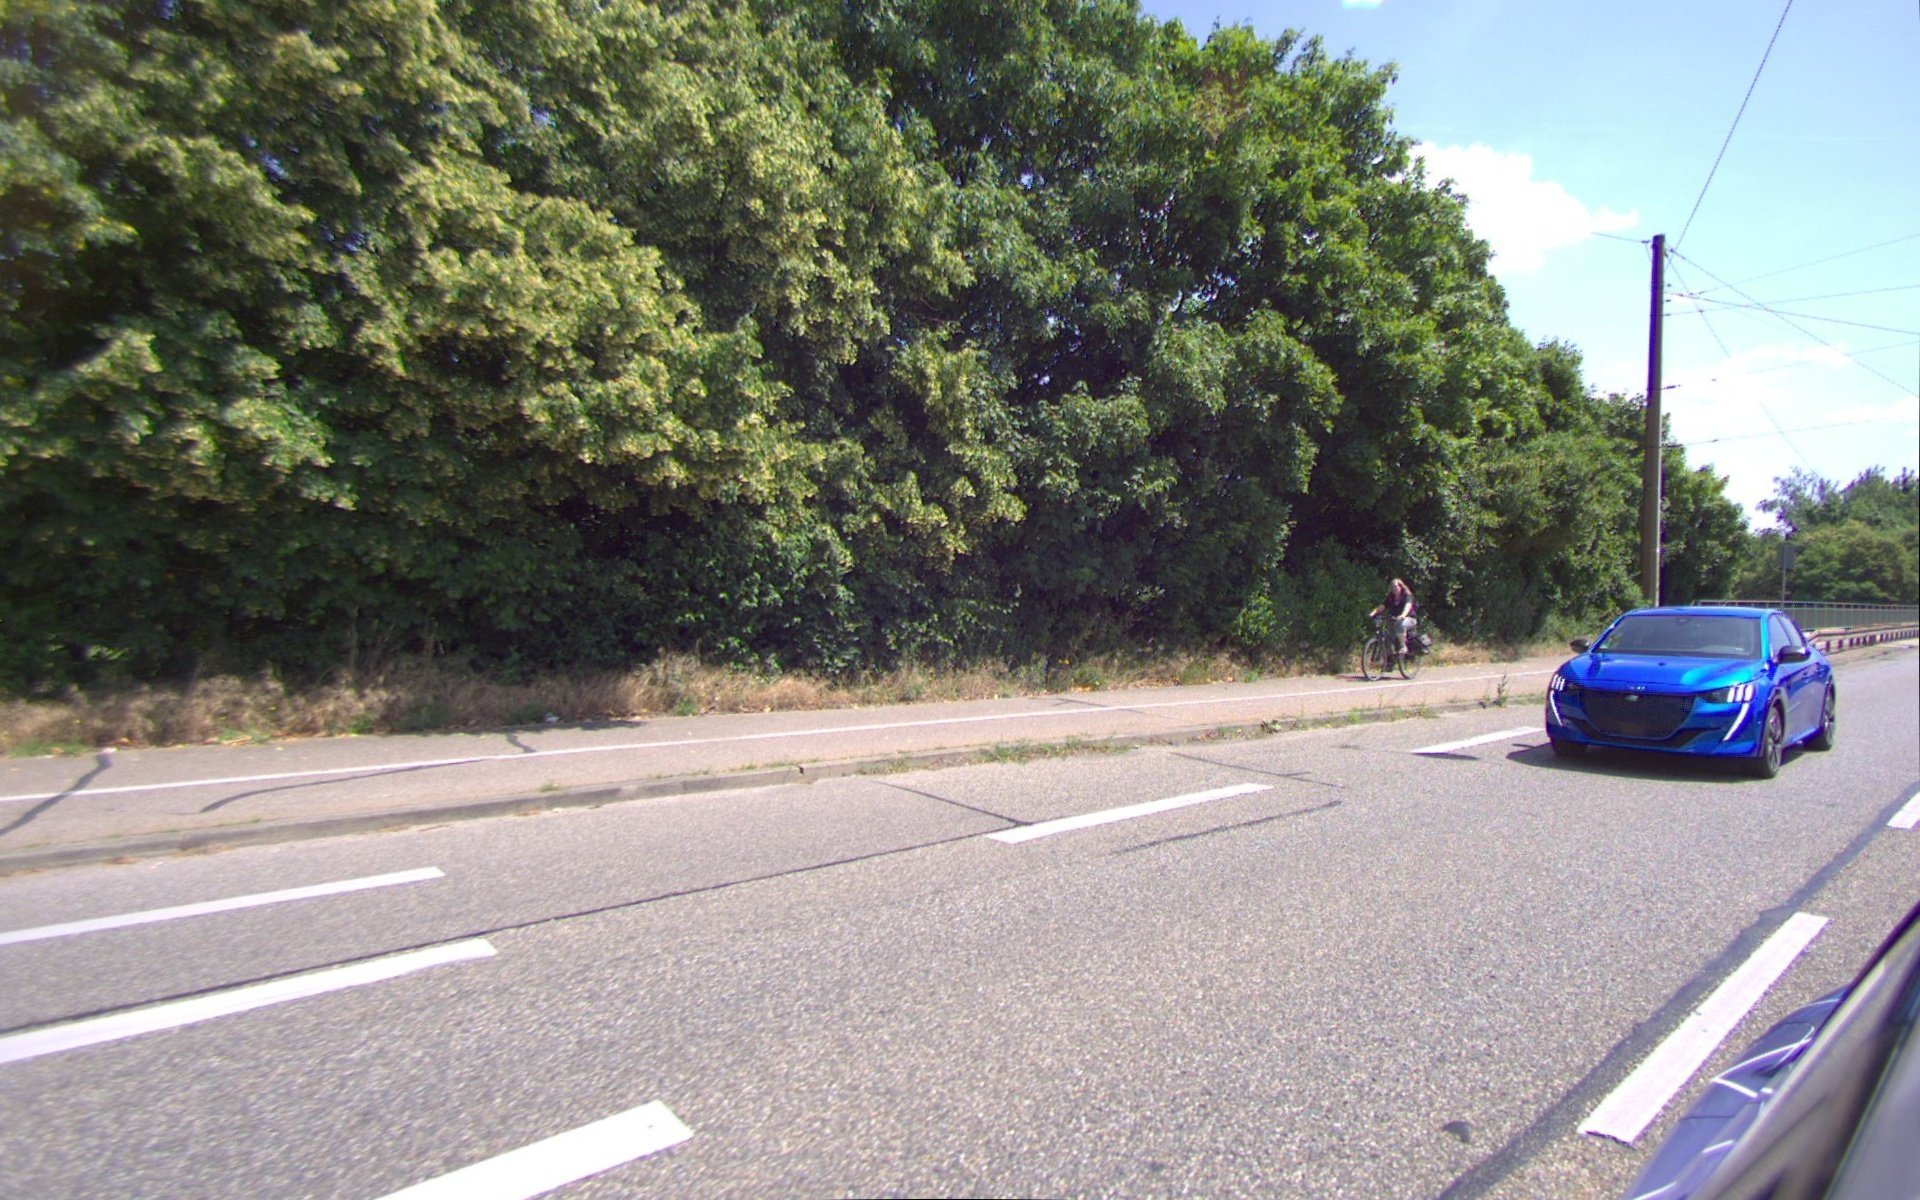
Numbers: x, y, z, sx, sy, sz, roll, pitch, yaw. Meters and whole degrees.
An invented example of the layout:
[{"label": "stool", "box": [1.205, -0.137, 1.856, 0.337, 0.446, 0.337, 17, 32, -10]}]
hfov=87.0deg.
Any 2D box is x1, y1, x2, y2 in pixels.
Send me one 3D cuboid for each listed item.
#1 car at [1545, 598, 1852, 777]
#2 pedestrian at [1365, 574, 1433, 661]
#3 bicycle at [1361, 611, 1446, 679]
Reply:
[{"label": "car", "box": [7.323, 0.694, 9.917, 3.678, 1.423, 1.658, 0, 0, -41]}, {"label": "pedestrian", "box": [7.333, 0.272, 16.893, 1.032, 1.391, 0.629, 0, 1, -40]}, {"label": "bicycle", "box": [7.405, 0.719, 16.858, 1.815, 1.037, 0.561, 0, 1, -41]}]
